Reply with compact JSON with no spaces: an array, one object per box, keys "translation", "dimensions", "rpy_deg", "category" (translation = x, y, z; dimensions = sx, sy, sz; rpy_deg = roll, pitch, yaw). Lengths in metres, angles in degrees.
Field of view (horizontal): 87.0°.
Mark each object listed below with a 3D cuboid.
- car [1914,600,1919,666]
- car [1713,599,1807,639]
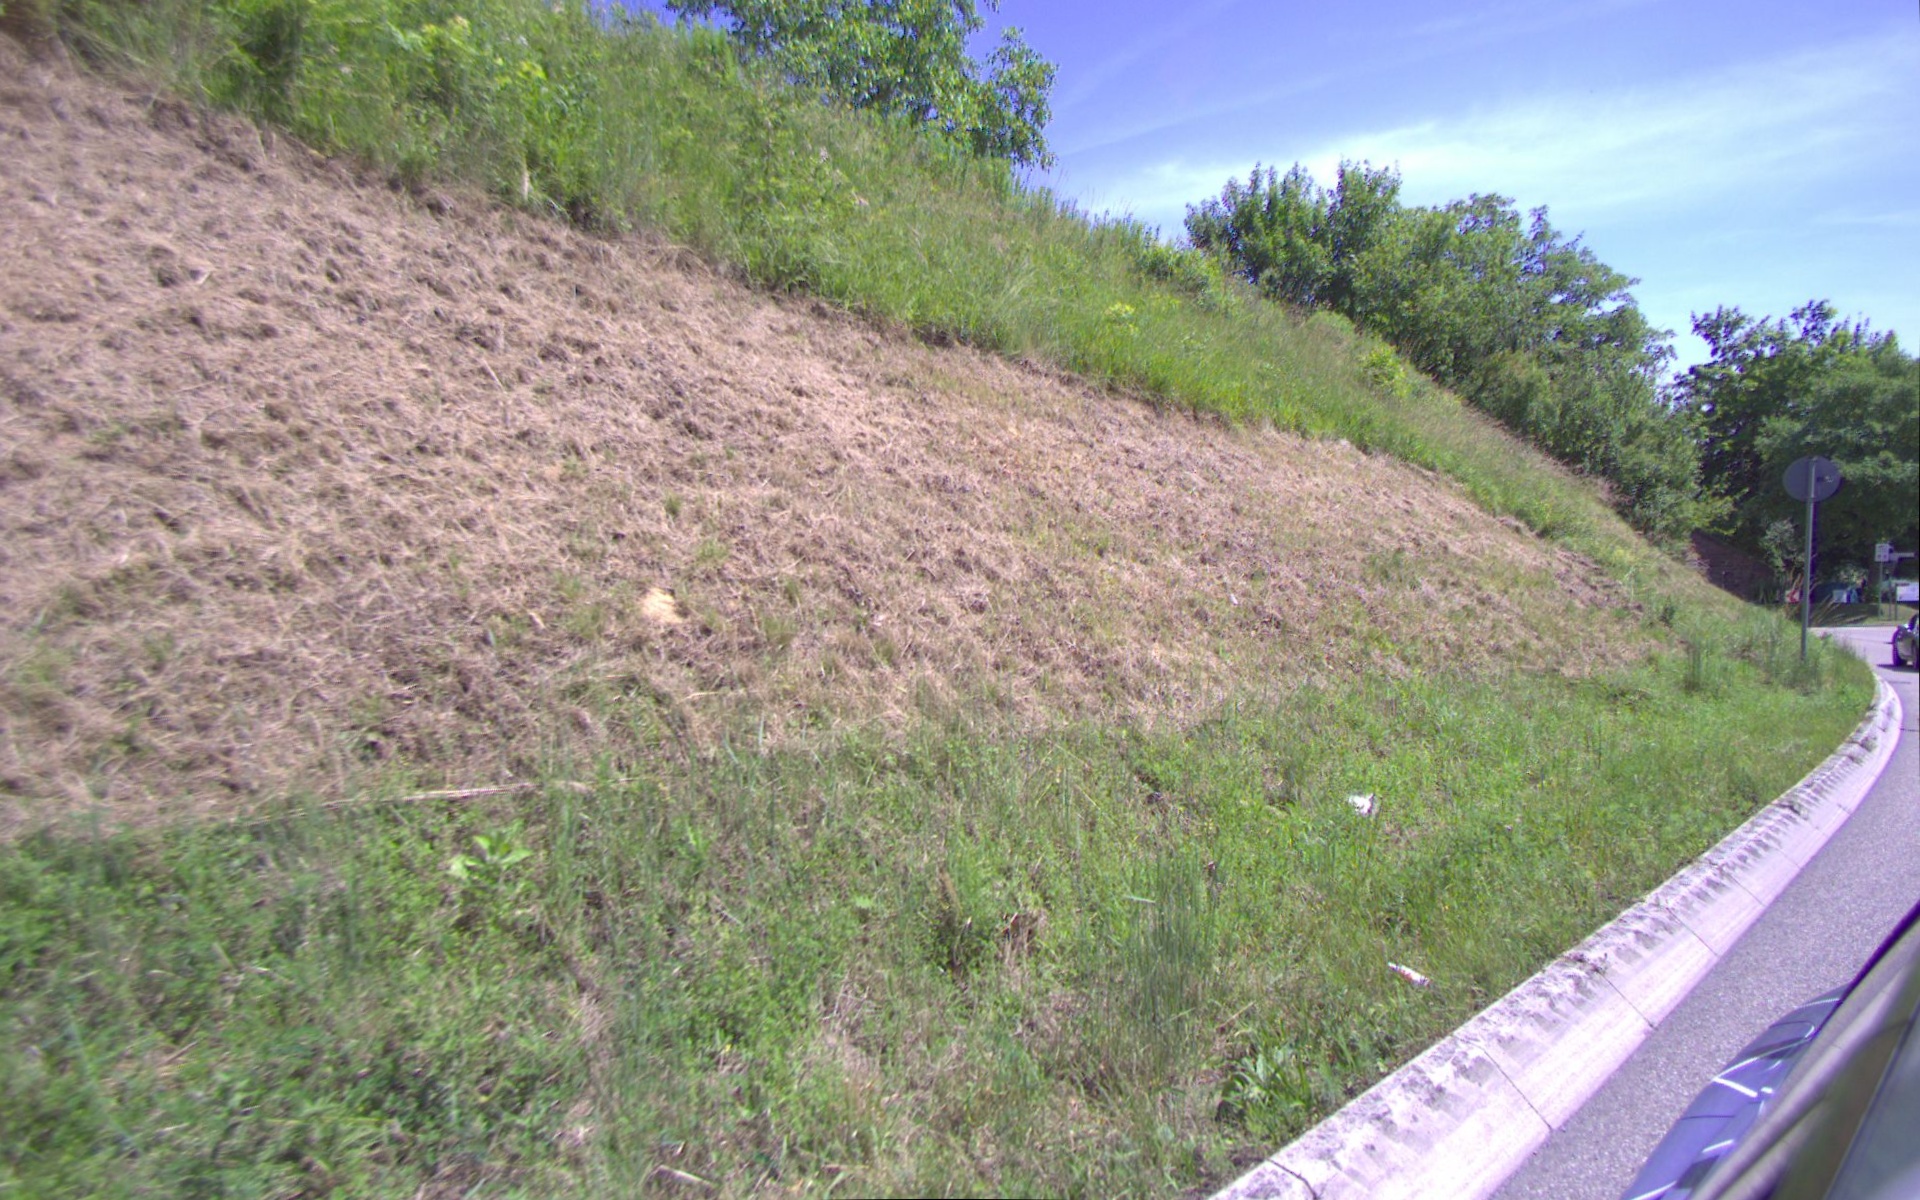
[{"translation":[21.075,0.737,21.052],"dimensions":[1.645,1.338,3.382],"rpy_deg":[6,3,44],"category":"car"},{"translation":[30.688,0.695,38.951],"dimensions":[1.736,1.304,4.116],"rpy_deg":[-1,2,22],"category":"car"}]
